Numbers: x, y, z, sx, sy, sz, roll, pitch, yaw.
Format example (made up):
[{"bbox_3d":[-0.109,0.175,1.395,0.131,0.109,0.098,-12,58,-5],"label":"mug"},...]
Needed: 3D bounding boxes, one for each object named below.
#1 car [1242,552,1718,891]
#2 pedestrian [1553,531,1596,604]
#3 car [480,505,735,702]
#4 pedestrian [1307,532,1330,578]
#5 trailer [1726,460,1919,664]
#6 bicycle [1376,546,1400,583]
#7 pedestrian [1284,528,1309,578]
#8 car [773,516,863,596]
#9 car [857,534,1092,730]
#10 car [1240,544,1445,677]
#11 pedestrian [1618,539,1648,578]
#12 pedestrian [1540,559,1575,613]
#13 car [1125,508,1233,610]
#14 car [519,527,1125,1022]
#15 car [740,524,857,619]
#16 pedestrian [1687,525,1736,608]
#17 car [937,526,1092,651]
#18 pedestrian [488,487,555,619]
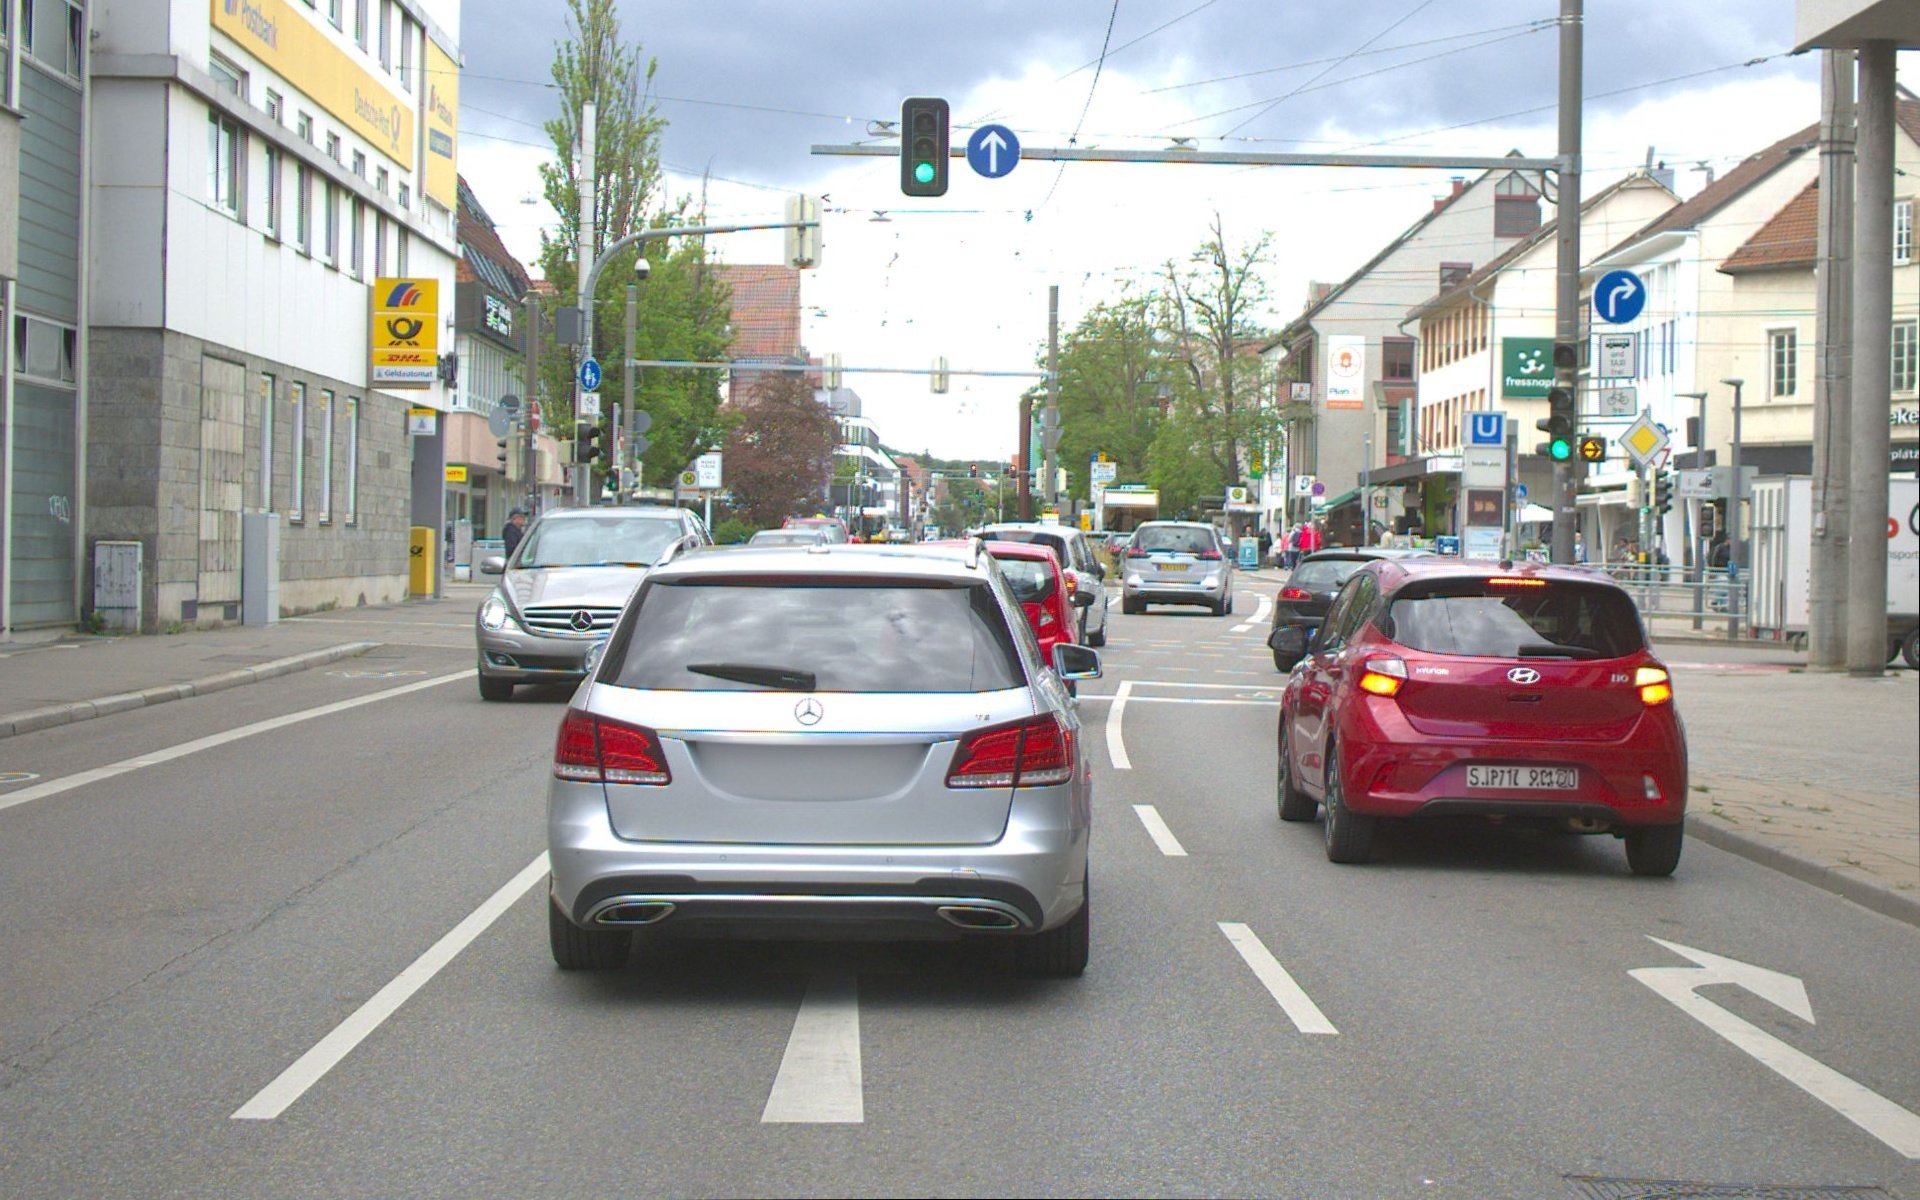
[{"bbox_3d":[2.569,0.536,17.886,1.698,1.447,4.000,3,1,-1],"label":"car"},{"bbox_3d":[14.703,-0.783,82.312,0.841,1.712,0.727,1,1,-3],"label":"pedestrian"},{"bbox_3d":[-3.071,-0.022,30.825,1.776,1.626,4.768,0,1,0],"label":"car"},{"bbox_3d":[11.649,-1.465,111.606,0.578,1.464,0.651,2,1,-5],"label":"pedestrian"},{"bbox_3d":[12.523,-0.495,45.362,4.308,2.604,1.884,1,1,-5],"label":"trailer"},{"bbox_3d":[12.881,-1.076,103.524,0.448,1.103,2.149,1,1,1],"label":"bicycle"},{"bbox_3d":[11.209,-1.568,114.645,0.577,1.661,0.651,2,1,-14],"label":"pedestrian"},{"bbox_3d":[-3.077,-0.984,75.124,1.799,1.689,3.898,0,1,0],"label":"car"},{"bbox_3d":[0.057,0.216,29.374,1.734,1.503,4.001,2,1,-3],"label":"car"},{"bbox_3d":[4.492,0.083,39.905,1.735,1.406,3.997,1,2,16],"label":"car"},{"bbox_3d":[20.395,-1.266,104.176,0.736,1.160,0.643,2,1,-2],"label":"pedestrian"},{"bbox_3d":[18.218,-0.425,104.858,0.640,1.586,0.898,2,1,-20],"label":"pedestrian"},{"bbox_3d":[3.899,-0.757,61.760,1.734,1.753,4.000,1,1,1],"label":"car"},{"bbox_3d":[-0.509,0.498,12.668,1.845,1.503,4.172,1,1,-2],"label":"car"},{"bbox_3d":[-2.553,-0.479,55.016,1.657,1.461,3.921,0,1,0],"label":"car"},{"bbox_3d":[15.646,-0.703,71.583,0.702,1.712,0.650,0,1,-26],"label":"pedestrian"},{"bbox_3d":[0.649,-0.186,43.839,1.734,1.503,4.001,1,1,-2],"label":"car"},{"bbox_3d":[-5.855,-0.632,45.907,0.648,1.712,0.782,3,1,7],"label":"pedestrian"}]
